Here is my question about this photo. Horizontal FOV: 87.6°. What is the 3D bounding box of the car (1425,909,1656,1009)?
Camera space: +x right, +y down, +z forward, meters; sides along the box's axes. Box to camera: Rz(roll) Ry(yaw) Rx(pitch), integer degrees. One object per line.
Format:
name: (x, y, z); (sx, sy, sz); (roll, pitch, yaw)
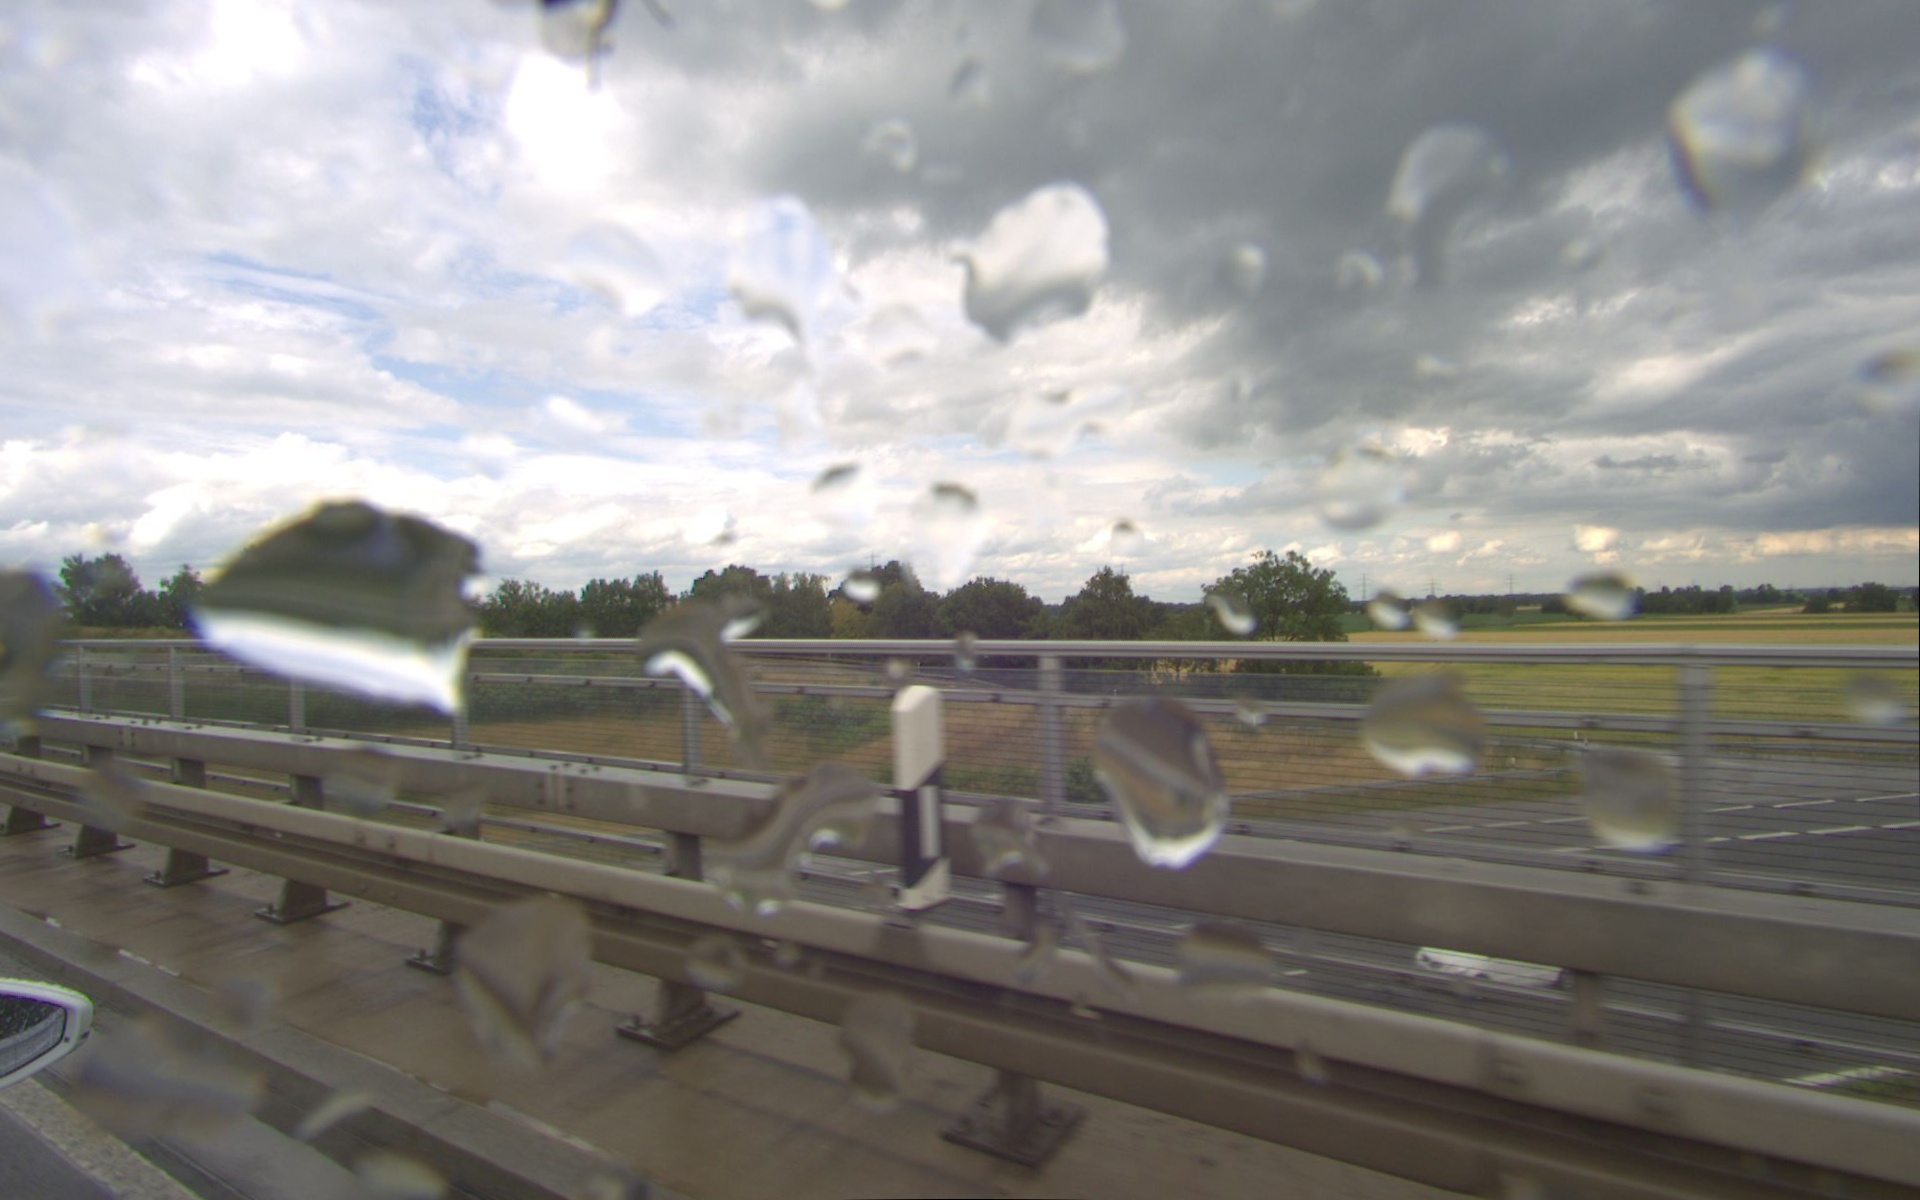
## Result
car: (13.720, 8.460, 23.761); (4.635, 1.505, 1.814); (0, -2, -10)
